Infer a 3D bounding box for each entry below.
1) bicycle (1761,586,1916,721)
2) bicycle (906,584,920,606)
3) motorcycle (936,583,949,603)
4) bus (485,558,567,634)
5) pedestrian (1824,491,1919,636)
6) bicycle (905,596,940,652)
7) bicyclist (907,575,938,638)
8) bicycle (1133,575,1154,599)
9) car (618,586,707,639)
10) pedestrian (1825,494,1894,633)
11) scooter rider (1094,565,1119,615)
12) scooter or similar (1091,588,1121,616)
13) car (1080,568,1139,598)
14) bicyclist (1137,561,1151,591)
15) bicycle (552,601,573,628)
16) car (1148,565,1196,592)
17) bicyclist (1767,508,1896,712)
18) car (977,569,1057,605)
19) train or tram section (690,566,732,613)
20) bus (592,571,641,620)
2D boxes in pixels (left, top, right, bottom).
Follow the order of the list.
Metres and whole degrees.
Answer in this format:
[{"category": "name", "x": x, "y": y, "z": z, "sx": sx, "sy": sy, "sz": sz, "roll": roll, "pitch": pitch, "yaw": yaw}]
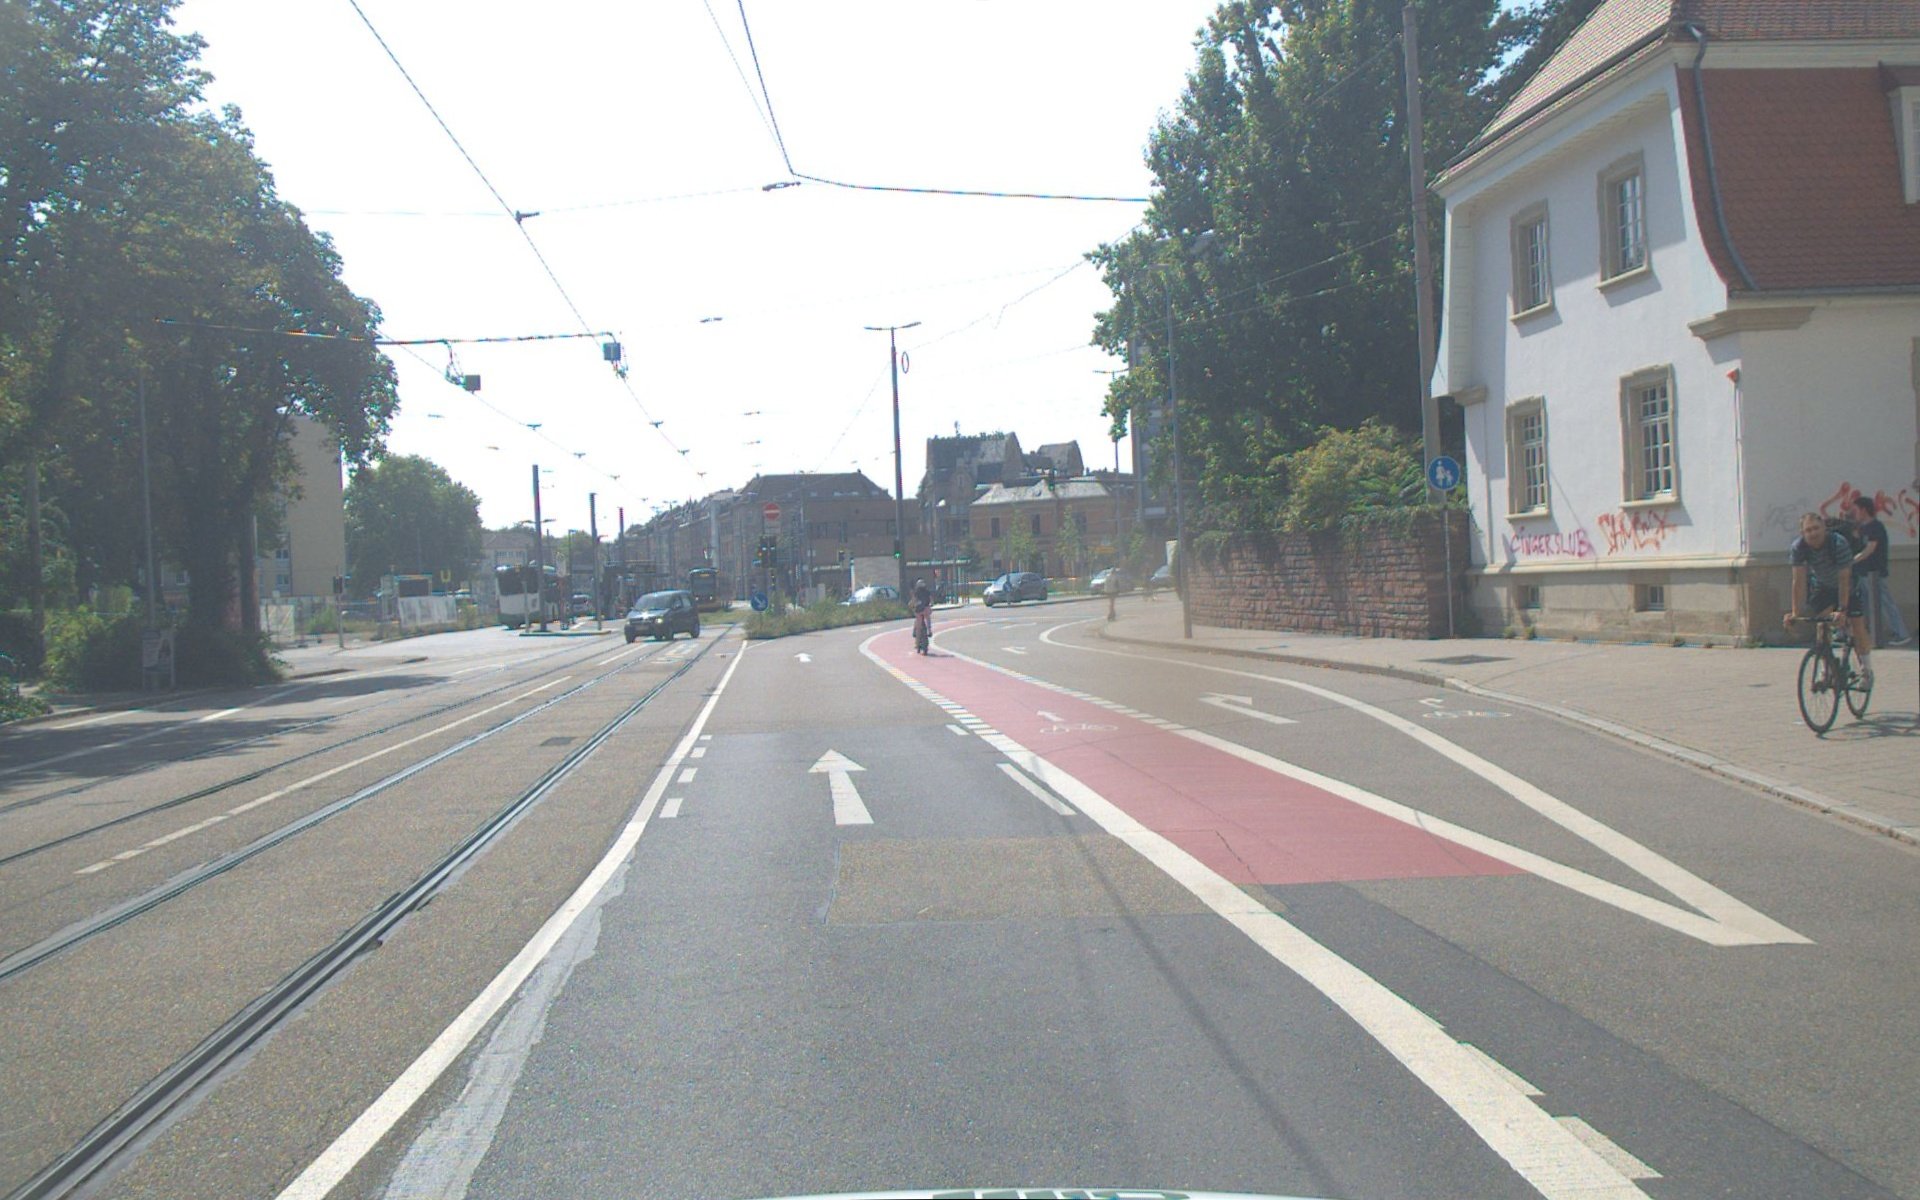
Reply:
[{"category": "bicycle", "x": 7.403, "y": 0.423, "z": 13.910, "sx": 1.697, "sy": 1.017, "sz": 0.606, "roll": -3, "pitch": 1, "yaw": -43}, {"category": "bicycle", "x": -2.795, "y": -0.305, "z": 99.117, "sx": 0.591, "sy": 1.231, "sz": 1.812, "roll": -3, "pitch": 1, "yaw": 4}, {"category": "motorcycle", "x": -1.110, "y": -0.471, "z": 104.935, "sx": 0.591, "sy": 1.231, "sz": 2.255, "roll": -3, "pitch": 1, "yaw": 4}, {"category": "bus", "x": -23.928, "y": -0.243, "z": 91.713, "sx": 2.902, "sy": 3.840, "sz": 10.580, "roll": -2, "pitch": 0, "yaw": -7}, {"category": "pedestrian", "x": 11.114, "y": -0.442, "z": 20.041, "sx": 0.859, "sy": 1.694, "sz": 0.729, "roll": -2, "pitch": 1, "yaw": -1}, {"category": "bicycle", "x": -0.846, "y": 0.519, "z": 36.996, "sx": 0.592, "sy": 1.183, "sz": 1.808, "roll": -3, "pitch": 1, "yaw": -6}, {"category": "bicyclist", "x": -0.839, "y": 0.146, "z": 36.933, "sx": 0.591, "sy": 1.358, "sz": 0.659, "roll": -3, "pitch": 1, "yaw": -5}, {"category": "bicycle", "x": 9.172, "y": -0.644, "z": 82.569, "sx": 0.436, "sy": 1.136, "sz": 1.444, "roll": -3, "pitch": 1, "yaw": 30}, {"category": "car", "x": -10.266, "y": 0.404, "z": 57.267, "sx": 1.655, "sy": 1.684, "sz": 3.584, "roll": -2, "pitch": 0, "yaw": 14}, {"category": "pedestrian", "x": 11.299, "y": -0.460, "z": 20.784, "sx": 0.475, "sy": 1.695, "sz": 0.620, "roll": -2, "pitch": 1, "yaw": 0}, {"category": "scooter rider", "x": 5.448, "y": -0.371, "z": 61.494, "sx": 0.746, "sy": 1.806, "sz": 0.555, "roll": -3, "pitch": 1, "yaw": 18}, {"category": "scooter or similar", "x": 5.429, "y": 0.074, "z": 61.366, "sx": 0.756, "sy": 0.942, "sz": 1.621, "roll": -2, "pitch": 1, "yaw": 17}, {"category": "car", "x": 8.816, "y": -1.034, "z": 97.180, "sx": 1.621, "sy": 1.556, "sz": 4.315, "roll": -3, "pitch": 1, "yaw": 32}, {"category": "bicyclist", "x": 9.212, "y": -1.194, "z": 82.706, "sx": 0.441, "sy": 1.446, "sz": 0.495, "roll": -3, "pitch": 0, "yaw": 30}, {"category": "bicycle", "x": -18.974, "y": 0.685, "z": 78.952, "sx": 0.595, "sy": 1.244, "sz": 1.704, "roll": -3, "pitch": 1, "yaw": -3}, {"category": "car", "x": 13.673, "y": -1.401, "z": 106.604, "sx": 1.664, "sy": 1.556, "sz": 4.178, "roll": -3, "pitch": 1, "yaw": 28}, {"category": "bicyclist", "x": 7.262, "y": 0.069, "z": 13.772, "sx": 0.985, "sy": 1.626, "sz": 0.618, "roll": -3, "pitch": 1, "yaw": -44}, {"category": "car", "x": 3.007, "y": -0.678, "z": 86.427, "sx": 1.743, "sy": 1.638, "sz": 4.655, "roll": -2, "pitch": 1, "yaw": 37}, {"category": "train or tram section", "x": -21.088, "y": -0.871, "z": 140.704, "sx": 2.802, "sy": 3.610, "sz": 17.716, "roll": -2, "pitch": 0, "yaw": -7}, {"category": "bus", "x": -28.387, "y": -0.418, "z": 136.999, "sx": 2.657, "sy": 3.792, "sz": 10.408, "roll": -2, "pitch": 0, "yaw": -5}]
